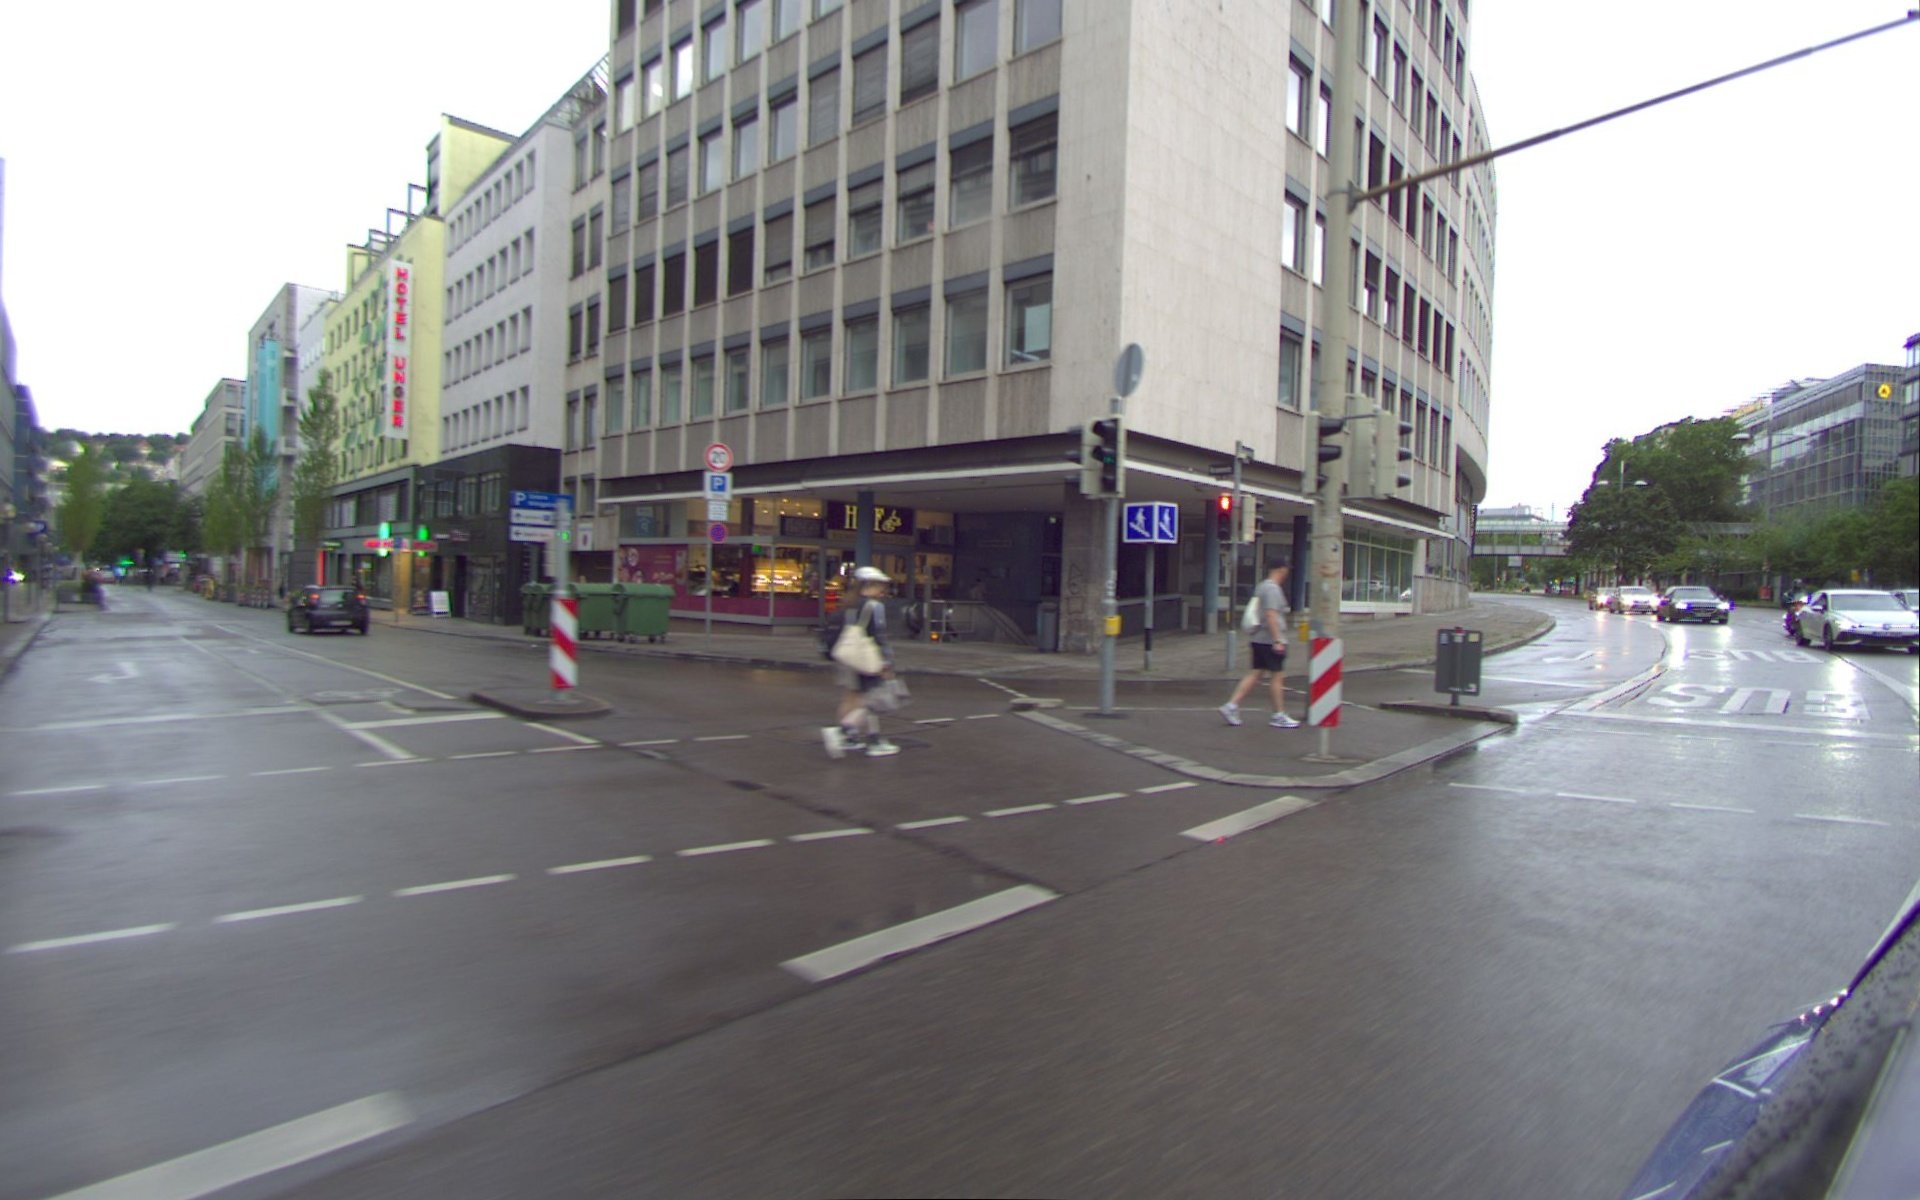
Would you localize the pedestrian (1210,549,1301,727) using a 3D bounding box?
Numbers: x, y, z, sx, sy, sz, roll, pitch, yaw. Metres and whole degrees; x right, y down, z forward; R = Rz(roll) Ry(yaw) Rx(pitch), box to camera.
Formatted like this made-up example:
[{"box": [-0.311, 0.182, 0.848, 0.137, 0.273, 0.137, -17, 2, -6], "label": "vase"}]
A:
[{"box": [3.058, 0.365, 10.444, 0.650, 1.748, 0.806, 0, 0, 38], "label": "pedestrian"}]

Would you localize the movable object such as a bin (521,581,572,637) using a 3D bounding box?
[{"box": [-11.300, 0.235, 27.639, 0.983, 1.478, 0.948, 0, 0, 41], "label": "movable object such as a bin"}]

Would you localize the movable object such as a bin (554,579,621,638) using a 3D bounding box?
[{"box": [-9.669, 0.199, 26.289, 0.983, 1.478, 1.350, 0, 0, 41], "label": "movable object such as a bin"}]

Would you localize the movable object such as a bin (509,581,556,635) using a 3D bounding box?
[{"box": [-12.123, 0.214, 28.672, 0.865, 1.478, 0.954, 0, 0, 41], "label": "movable object such as a bin"}]

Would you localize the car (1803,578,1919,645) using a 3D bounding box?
[{"box": [22.066, 0.234, 24.536, 1.675, 1.505, 3.961, 0, 0, 28], "label": "car"}]

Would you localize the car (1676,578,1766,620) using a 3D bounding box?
[{"box": [28.706, -0.066, 38.311, 1.872, 1.505, 3.967, 0, 0, 24], "label": "car"}]

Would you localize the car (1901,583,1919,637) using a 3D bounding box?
[{"box": [28.441, 0.277, 28.840, 1.742, 1.536, 3.724, 0, 0, 33], "label": "car"}]

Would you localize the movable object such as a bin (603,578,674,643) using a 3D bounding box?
[{"box": [-7.849, 0.242, 24.733, 1.370, 1.530, 0.985, 0, 0, -43], "label": "movable object such as a bin"}]

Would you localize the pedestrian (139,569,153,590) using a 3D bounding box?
[{"box": [-73.719, -1.843, 91.664, 0.944, 1.856, 1.039, 0, 0, -40], "label": "pedestrian"}]

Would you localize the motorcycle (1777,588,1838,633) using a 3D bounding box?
[{"box": [25.815, 0.285, 30.900, 1.123, 1.282, 3.332, 0, 0, 35], "label": "motorcycle"}]

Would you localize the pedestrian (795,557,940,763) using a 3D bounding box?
[{"box": [-0.775, 0.468, 8.542, 1.040, 1.618, 0.653, 0, 0, -42], "label": "pedestrian"}]

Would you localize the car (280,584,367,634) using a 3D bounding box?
[{"box": [-19.299, 0.226, 30.597, 1.646, 1.408, 3.993, -1, 1, -41], "label": "car"}]

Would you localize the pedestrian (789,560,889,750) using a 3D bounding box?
[{"box": [-1.088, 0.465, 9.081, 0.718, 1.618, 0.526, 0, 0, -42], "label": "pedestrian"}]

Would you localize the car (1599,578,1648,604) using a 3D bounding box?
[{"box": [39.625, -0.550, 60.513, 1.873, 1.505, 3.965, 0, 0, 25], "label": "car"}]

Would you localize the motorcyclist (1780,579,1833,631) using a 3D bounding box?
[{"box": [25.870, 0.139, 30.960, 1.145, 1.529, 1.182, 0, 0, 35], "label": "motorcyclist"}]

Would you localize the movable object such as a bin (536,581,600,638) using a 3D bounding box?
[{"box": [-10.443, 0.230, 26.942, 0.983, 1.478, 1.289, 0, 0, 41], "label": "movable object such as a bin"}]

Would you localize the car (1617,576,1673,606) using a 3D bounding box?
[{"box": [36.453, -0.471, 53.975, 1.873, 1.505, 3.965, 0, 0, 25], "label": "car"}]
